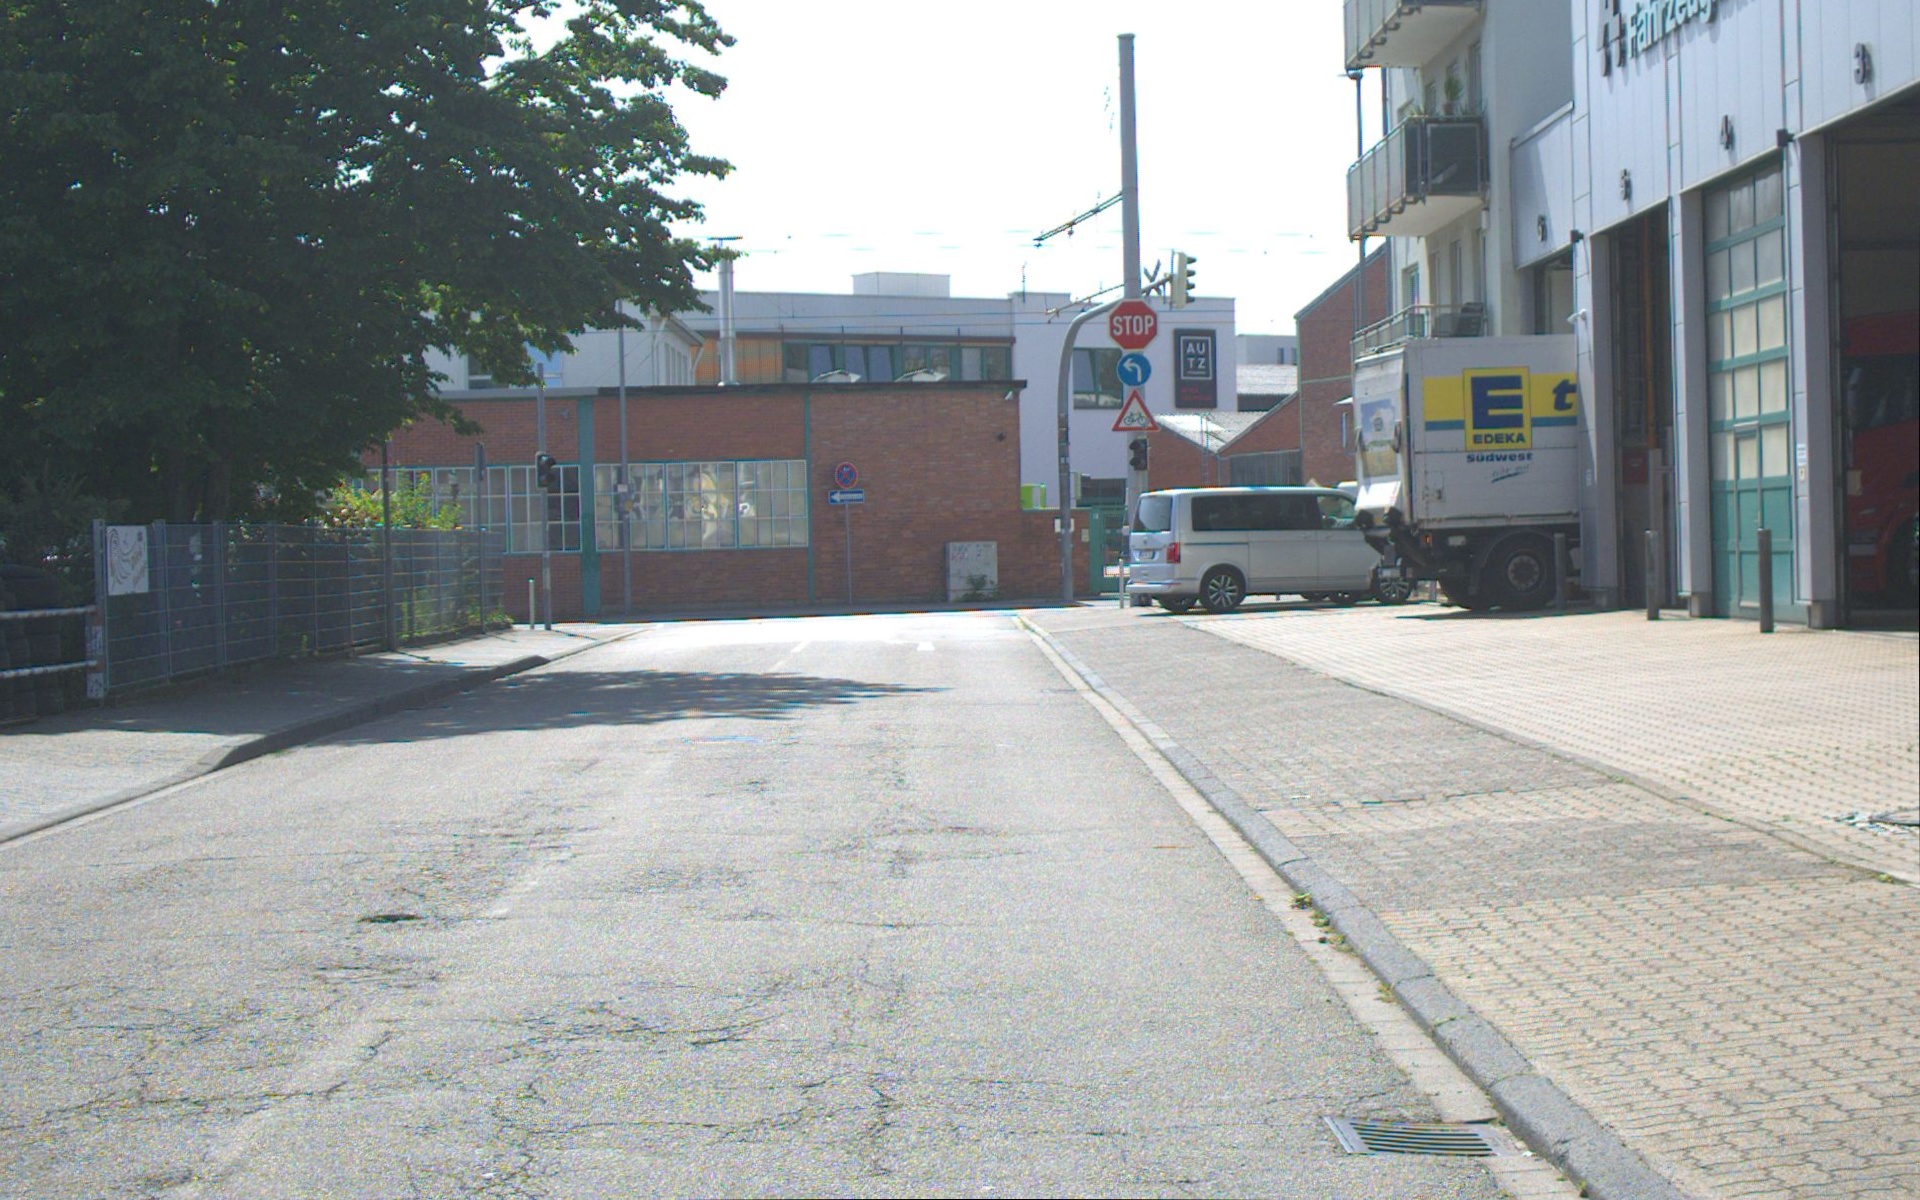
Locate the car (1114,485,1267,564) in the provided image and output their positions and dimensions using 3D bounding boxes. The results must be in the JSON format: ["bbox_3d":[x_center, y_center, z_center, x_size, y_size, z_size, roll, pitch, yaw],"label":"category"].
[{"bbox_3d":[6.715,-2.205,99.937,3.987,2.182,2.000,-2,1,-32],"label":"car"}]

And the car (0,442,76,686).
[{"bbox_3d":[-11.620,-0.343,36.277,4.085,2.504,1.777,-1,1,-2],"label":"car"}]

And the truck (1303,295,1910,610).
[{"bbox_3d":[8.658,-1.978,46.465,7.357,3.633,2.768,-4,1,-6],"label":"truck"}]

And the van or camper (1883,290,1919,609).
[{"bbox_3d":[12.244,-1.599,35.557,4.755,3.277,2.000,-1,1,-3],"label":"van or camper"}]

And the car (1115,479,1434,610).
[{"bbox_3d":[5.010,-0.895,54.893,4.653,1.951,1.917,-2,1,-19],"label":"car"}]
